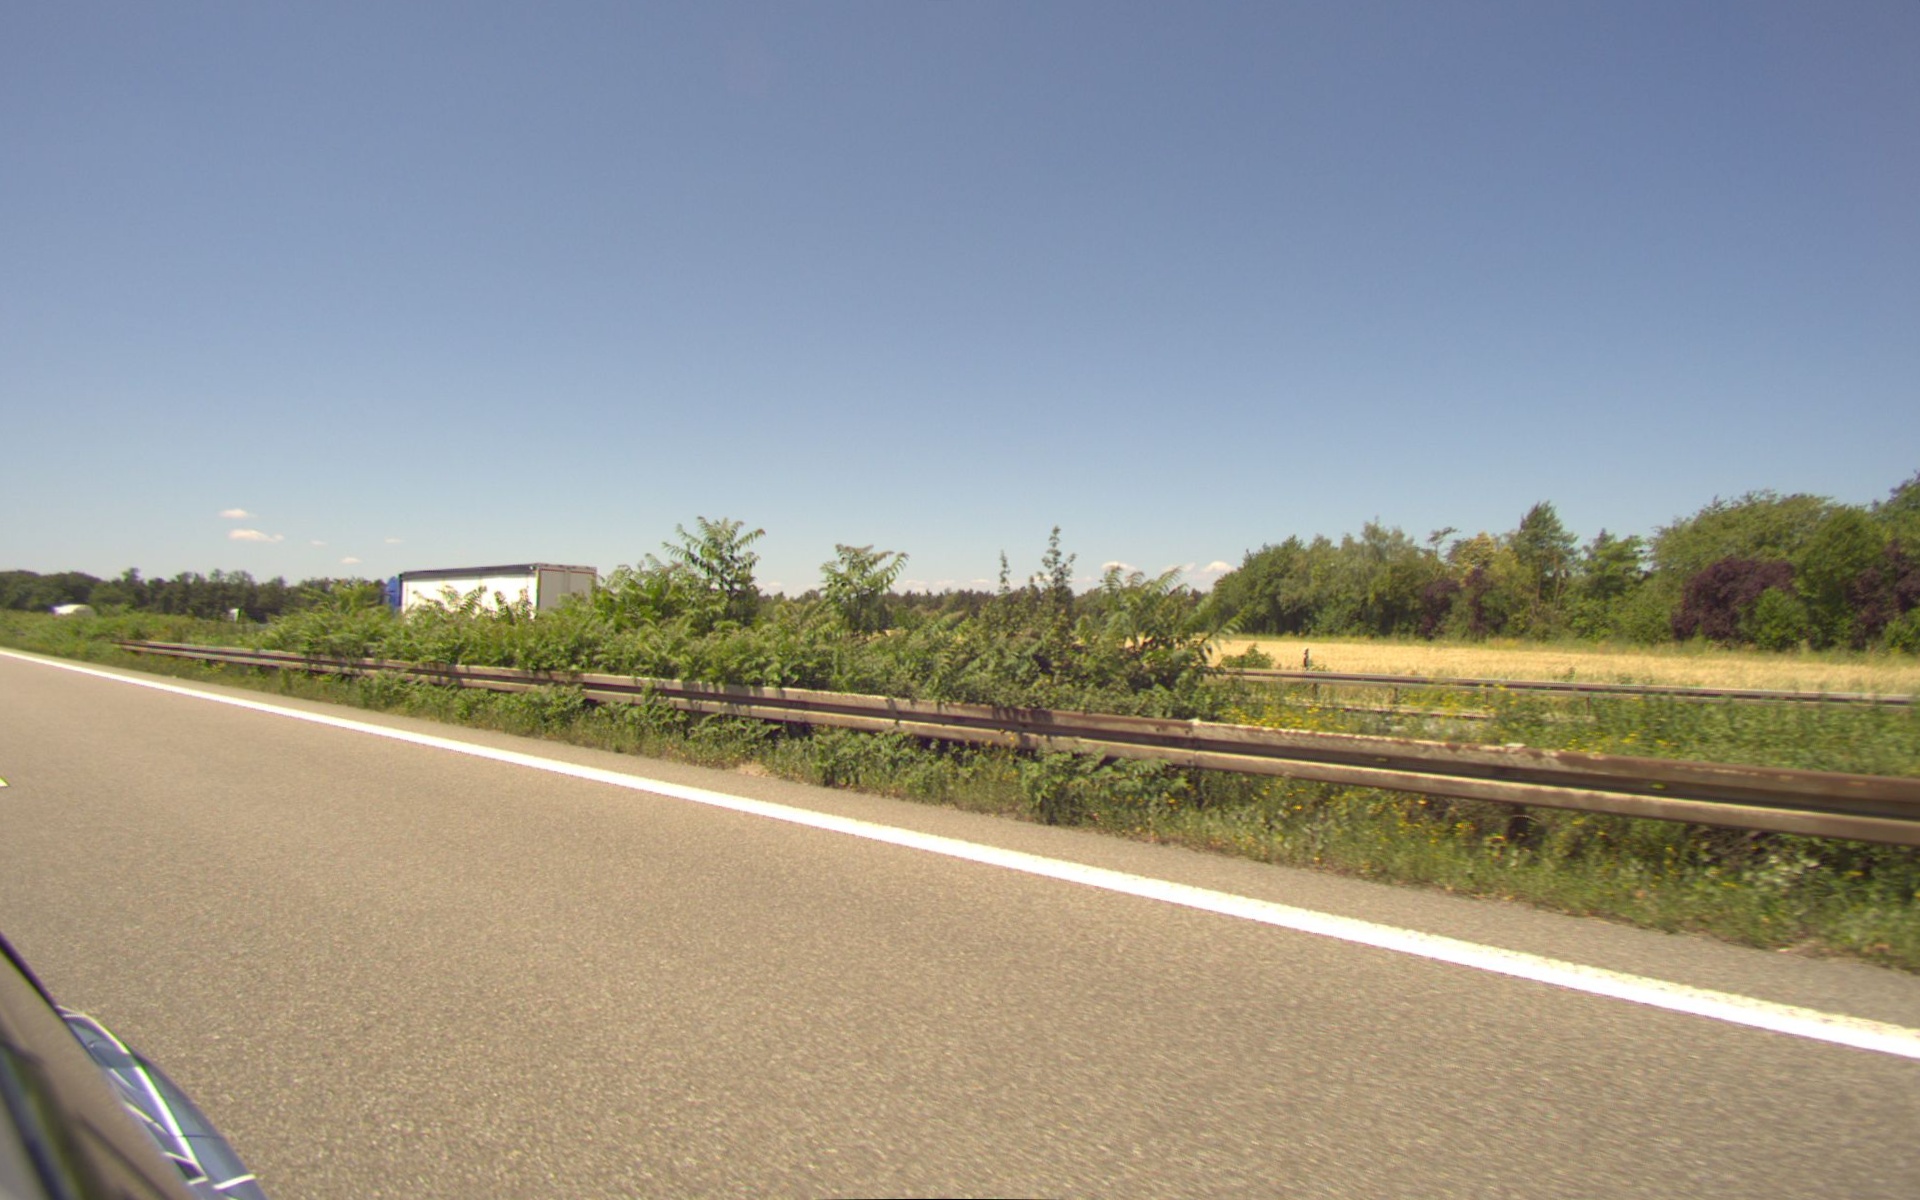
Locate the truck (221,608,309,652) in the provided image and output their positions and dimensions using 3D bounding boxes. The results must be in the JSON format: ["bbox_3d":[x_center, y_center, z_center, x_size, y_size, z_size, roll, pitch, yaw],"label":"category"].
[{"bbox_3d":[-36.411,1.523,52.946,6.570,2.169,2.224,-1,0,41],"label":"truck"}]

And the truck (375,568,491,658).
[{"bbox_3d":[-25.613,0.594,49.090,5.916,4.089,3.026,-1,0,41],"label":"truck"}]

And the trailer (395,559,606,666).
[{"bbox_3d":[-20.639,0.528,44.687,13.950,4.089,3.026,-1,0,41],"label":"trailer"}]

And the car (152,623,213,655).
[{"bbox_3d":[-37.605,1.864,48.906,3.686,1.431,1.662,-1,0,41],"label":"car"}]

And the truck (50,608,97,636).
[{"bbox_3d":[-105.968,2.624,120.868,13.115,3.147,2.542,-1,0,41],"label":"truck"}]
